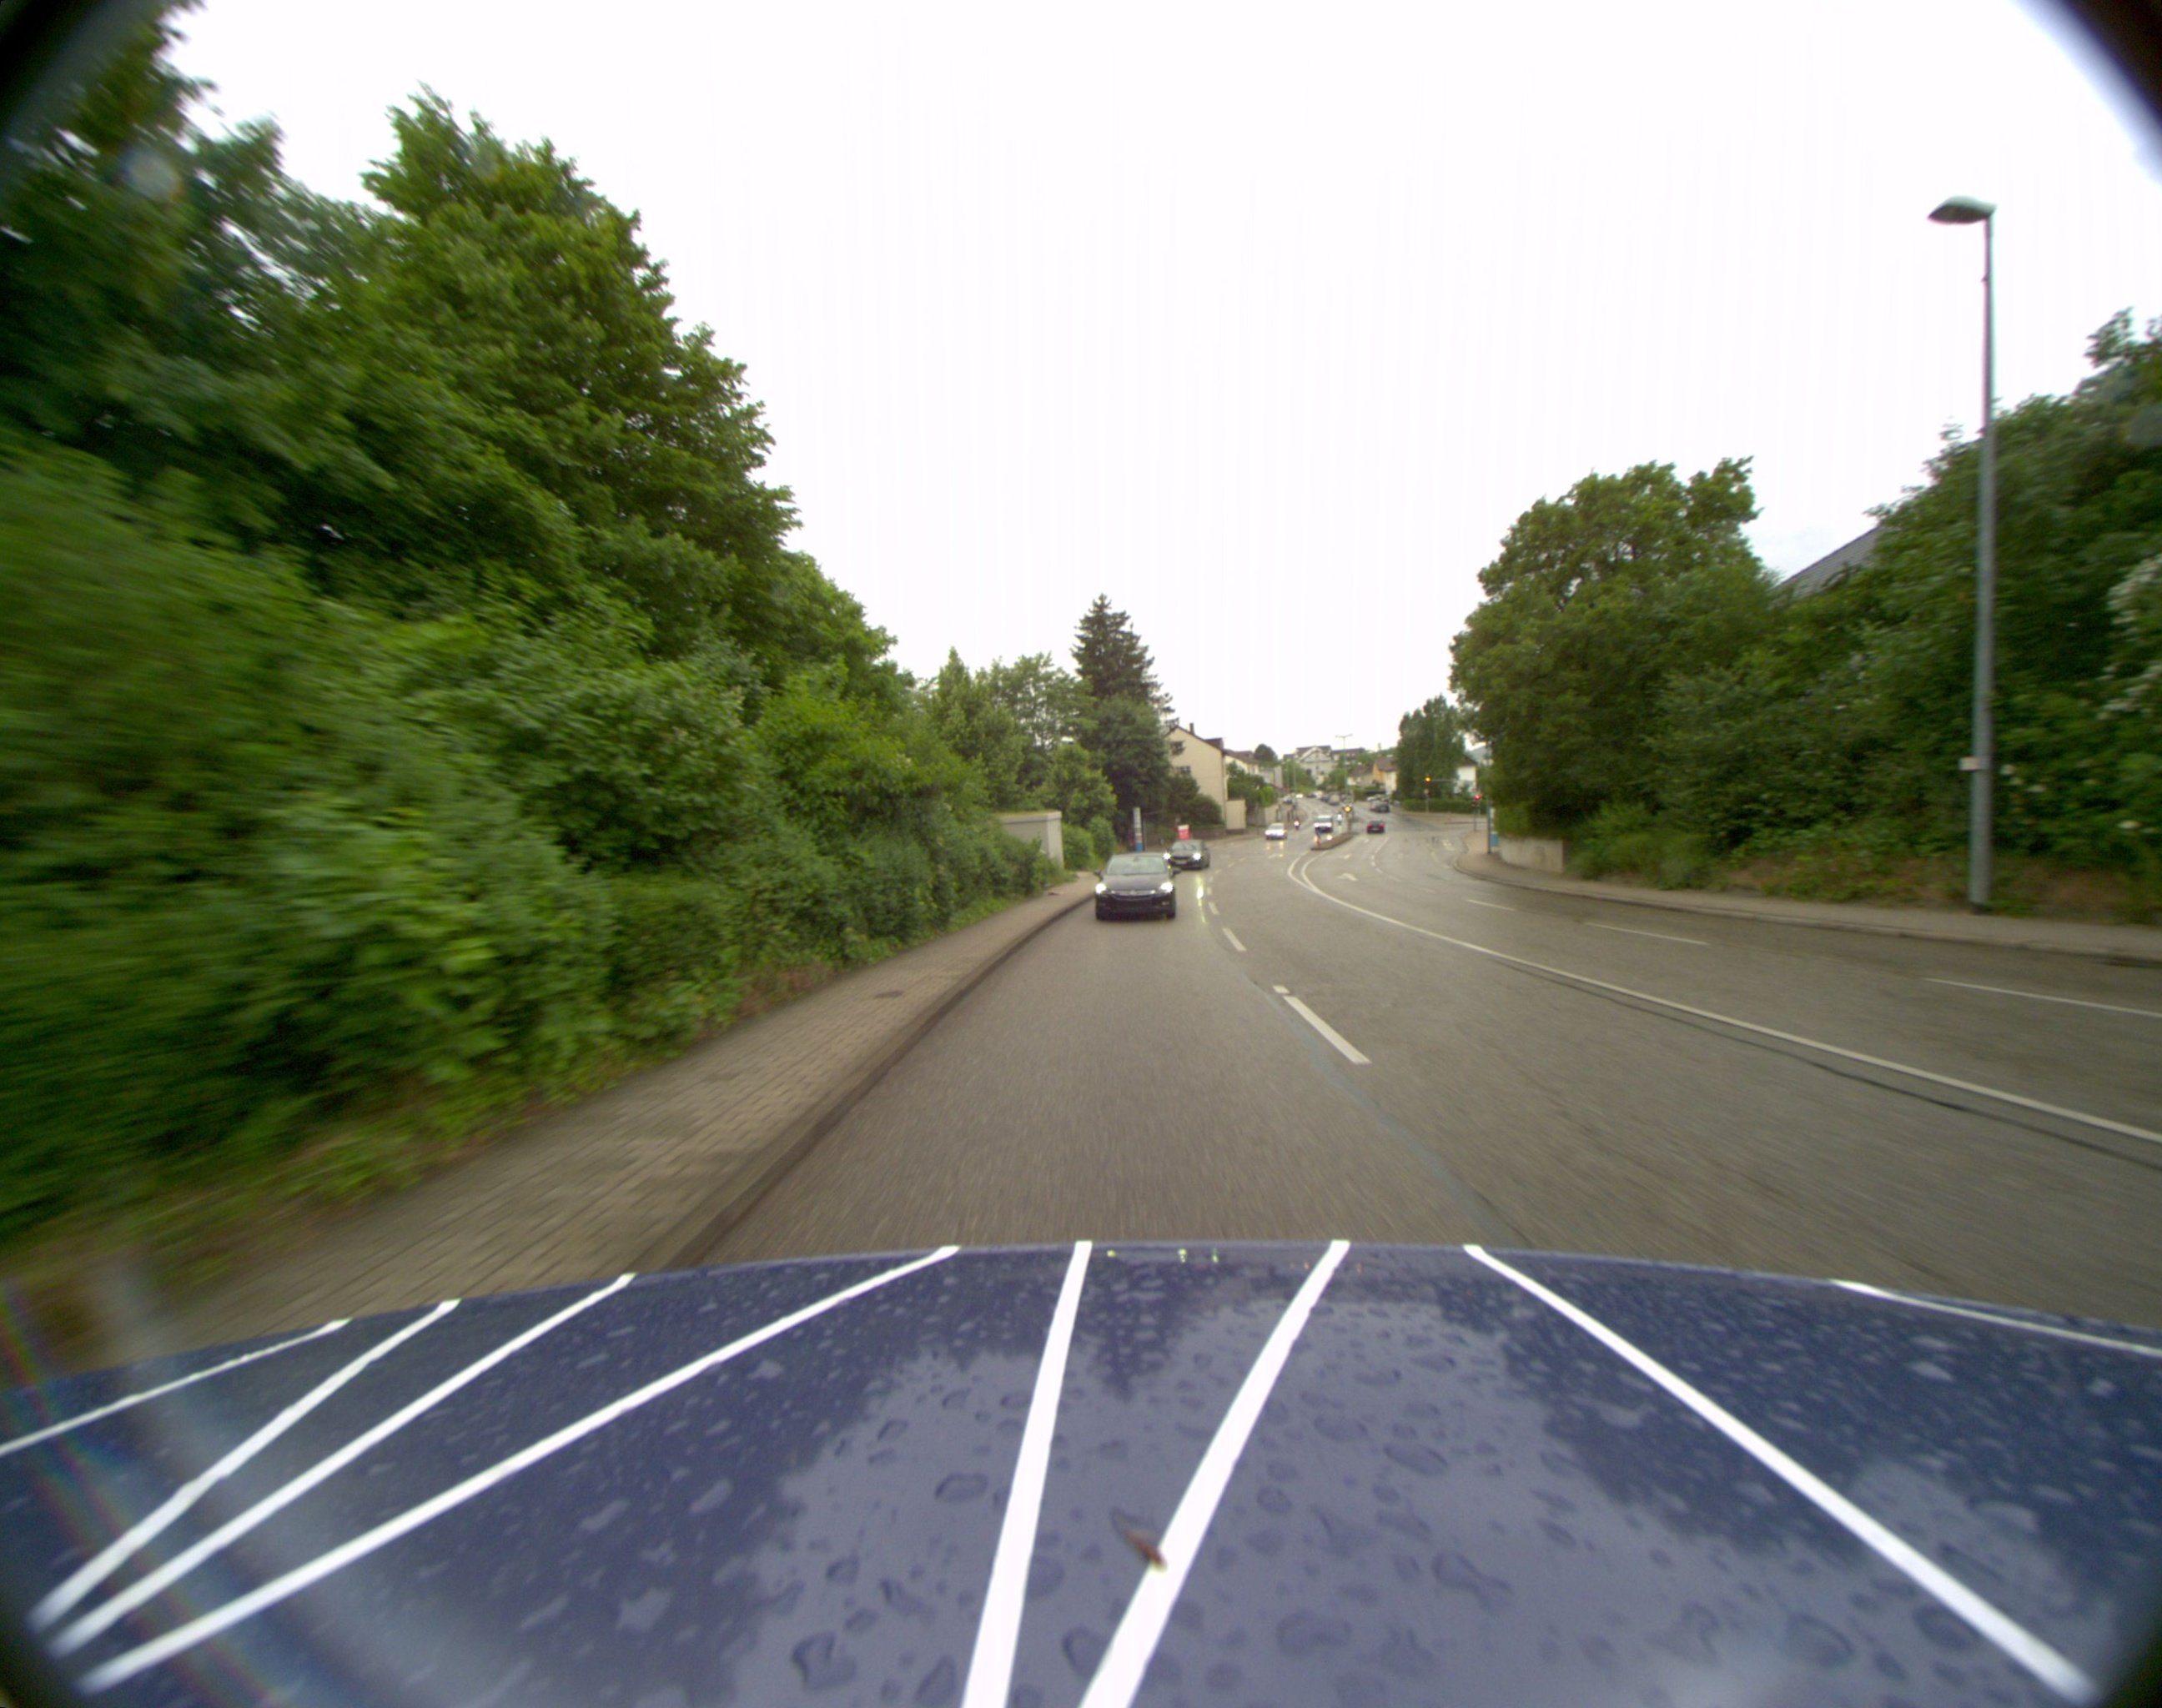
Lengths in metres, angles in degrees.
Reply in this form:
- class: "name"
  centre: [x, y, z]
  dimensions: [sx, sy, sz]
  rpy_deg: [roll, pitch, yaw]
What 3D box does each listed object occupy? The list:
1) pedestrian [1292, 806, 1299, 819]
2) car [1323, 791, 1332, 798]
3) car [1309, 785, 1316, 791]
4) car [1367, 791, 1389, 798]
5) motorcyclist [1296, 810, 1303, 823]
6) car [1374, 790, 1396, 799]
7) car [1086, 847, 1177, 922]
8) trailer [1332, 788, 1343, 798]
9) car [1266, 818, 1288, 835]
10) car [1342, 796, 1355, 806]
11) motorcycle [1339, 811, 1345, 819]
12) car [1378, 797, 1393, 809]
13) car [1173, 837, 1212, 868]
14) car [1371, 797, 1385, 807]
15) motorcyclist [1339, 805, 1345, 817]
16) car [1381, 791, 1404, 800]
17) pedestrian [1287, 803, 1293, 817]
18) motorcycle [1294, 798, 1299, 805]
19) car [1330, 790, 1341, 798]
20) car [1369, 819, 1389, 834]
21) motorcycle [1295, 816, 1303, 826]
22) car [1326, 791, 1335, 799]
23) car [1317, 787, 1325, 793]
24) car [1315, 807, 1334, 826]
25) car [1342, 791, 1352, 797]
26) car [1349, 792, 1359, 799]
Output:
- class: "pedestrian"
  centre: [31.438, -6.073, 111.365]
  dimensions: [0.794, 1.772, 1.012]
  rpy_deg: [1, 7, 21]
- class: "car"
  centre: [61.630, -14.941, 190.063]
  dimensions: [1.996, 1.566, 4.000]
  rpy_deg: [-1, 6, 16]
- class: "car"
  centre: [67.351, -19.071, 220.717]
  dimensions: [1.714, 1.495, 4.000]
  rpy_deg: [-2, 6, 14]
- class: "car"
  centre: [65.461, -13.114, 167.581]
  dimensions: [4.106, 1.477, 1.840]
  rpy_deg: [2, 5, 7]
- class: "motorcyclist"
  centre: [27.206, -4.656, 94.683]
  dimensions: [0.760, 1.595, 0.808]
  rpy_deg: [-1, 7, 21]
- class: "car"
  centre: [64.640, -12.697, 161.691]
  dimensions: [4.105, 1.413, 1.884]
  rpy_deg: [-3, 5, 15]
- class: "car"
  centre: [1.210, 0.621, 17.673]
  dimensions: [1.840, 1.390, 4.000]
  rpy_deg: [-2, 2, 5]
- class: "trailer"
  centre: [54.864, -13.047, 162.646]
  dimensions: [1.898, 2.168, 4.037]
  rpy_deg: [-1, 5, 15]
- class: "car"
  centre: [19.638, -2.748, 75.924]
  dimensions: [1.838, 1.474, 4.002]
  rpy_deg: [-1, 5, 19]
- class: "car"
  centre: [50.616, -10.073, 143.811]
  dimensions: [1.826, 1.649, 4.466]
  rpy_deg: [-1, 5, 13]
- class: "motorcycle"
  centre: [35.127, -5.267, 102.172]
  dimensions: [0.762, 0.948, 2.443]
  rpy_deg: [-1, 6, 20]
- class: "car"
  centre: [50.458, -8.451, 125.947]
  dimensions: [1.807, 1.661, 4.598]
  rpy_deg: [-1, 6, 15]
- class: "car"
  centre: [5.762, -0.113, 39.068]
  dimensions: [1.839, 1.449, 4.002]
  rpy_deg: [-1, 2, 10]
- class: "car"
  centre: [51.708, -9.076, 132.324]
  dimensions: [1.807, 1.561, 4.143]
  rpy_deg: [-1, 6, 15]
- class: "motorcyclist"
  centre: [35.033, -5.780, 101.974]
  dimensions: [0.760, 1.595, 0.808]
  rpy_deg: [-1, 7, 21]
- class: "car"
  centre: [62.271, -11.768, 151.925]
  dimensions: [3.993, 1.413, 1.884]
  rpy_deg: [-4, 5, 15]
- class: "pedestrian"
  centre: [30.297, -6.418, 110.235]
  dimensions: [0.798, 2.004, 0.734]
  rpy_deg: [-1, 6, 21]
- class: "motorcycle"
  centre: [42.896, -10.491, 151.352]
  dimensions: [0.693, 1.318, 2.479]
  rpy_deg: [-1, 6, 13]
- class: "car"
  centre: [55.910, -13.155, 166.794]
  dimensions: [1.902, 1.674, 4.481]
  rpy_deg: [-1, 4, 15]
- class: "car"
  centre: [31.947, -2.977, 81.486]
  dimensions: [1.894, 1.479, 4.238]
  rpy_deg: [0, 4, 21]
- class: "motorcycle"
  centre: [27.181, -4.114, 94.653]
  dimensions: [0.762, 0.948, 2.443]
  rpy_deg: [-1, 6, 20]
- class: "car"
  centre: [58.444, -13.843, 177.976]
  dimensions: [1.843, 1.544, 4.385]
  rpy_deg: [-1, 6, 15]
- class: "car"
  centre: [64.561, -17.248, 204.419]
  dimensions: [1.838, 1.549, 4.770]
  rpy_deg: [-1, 6, 14]
- class: "car"
  centre: [27.943, -4.292, 87.117]
  dimensions: [1.953, 1.862, 4.747]
  rpy_deg: [-1, 6, 18]
- class: "car"
  centre: [62.331, -14.058, 178.018]
  dimensions: [1.807, 1.409, 3.999]
  rpy_deg: [-1, 6, 11]
- class: "car"
  centre: [61.964, -13.314, 172.352]
  dimensions: [1.807, 1.409, 4.000]
  rpy_deg: [-1, 6, 15]
